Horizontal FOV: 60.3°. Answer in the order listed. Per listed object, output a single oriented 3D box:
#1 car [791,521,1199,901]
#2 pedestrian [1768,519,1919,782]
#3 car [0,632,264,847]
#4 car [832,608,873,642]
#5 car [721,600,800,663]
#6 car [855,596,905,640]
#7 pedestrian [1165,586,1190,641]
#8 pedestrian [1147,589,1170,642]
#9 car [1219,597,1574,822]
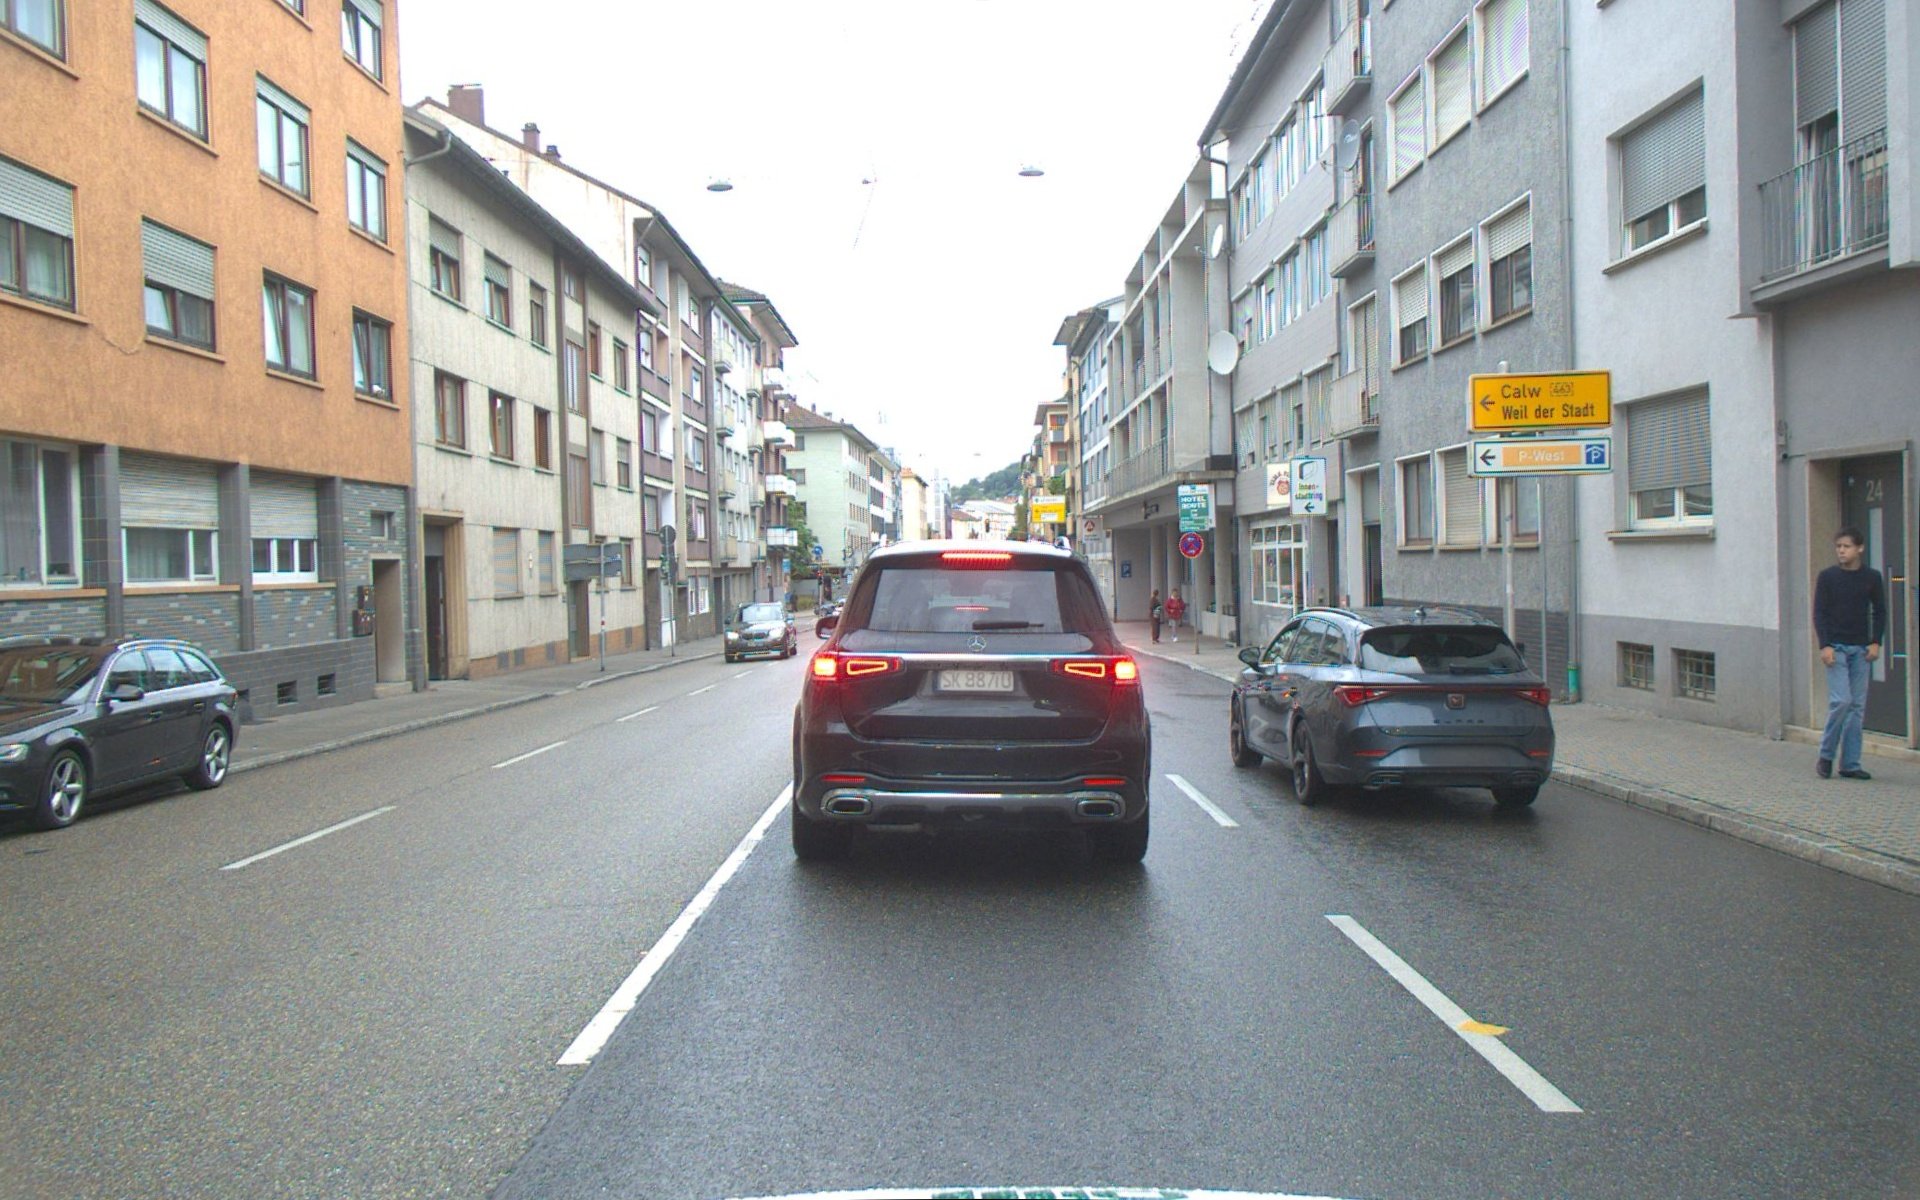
[{"bbox_3d":[0.135,0.543,10.185,1.984,1.837,3.999,1,0,-1],"label":"car"},{"bbox_3d":[6.565,0.346,12.133,0.630,1.808,1.056,-4,0,-1],"label":"pedestrian"},{"bbox_3d":[-7.957,1.086,14.598,1.759,1.463,4.526,1,0,-1],"label":"car"},{"bbox_3d":[-5.673,1.292,87.529,1.760,1.612,4.316,-3,0,1],"label":"car"},{"bbox_3d":[-5.470,0.819,45.655,1.669,1.533,4.158,-4,0,-1],"label":"car"},{"bbox_3d":[-3.466,0.765,72.556,1.798,1.757,4.475,-4,0,1],"label":"car"},{"bbox_3d":[6.441,0.398,48.987,0.549,1.606,0.525,-4,0,-6],"label":"pedestrian"},{"bbox_3d":[5.861,0.456,48.857,0.496,1.526,0.562,-4,0,-4],"label":"pedestrian"},{"bbox_3d":[3.253,0.727,13.186,1.588,1.455,4.311,1,0,-1],"label":"car"}]
